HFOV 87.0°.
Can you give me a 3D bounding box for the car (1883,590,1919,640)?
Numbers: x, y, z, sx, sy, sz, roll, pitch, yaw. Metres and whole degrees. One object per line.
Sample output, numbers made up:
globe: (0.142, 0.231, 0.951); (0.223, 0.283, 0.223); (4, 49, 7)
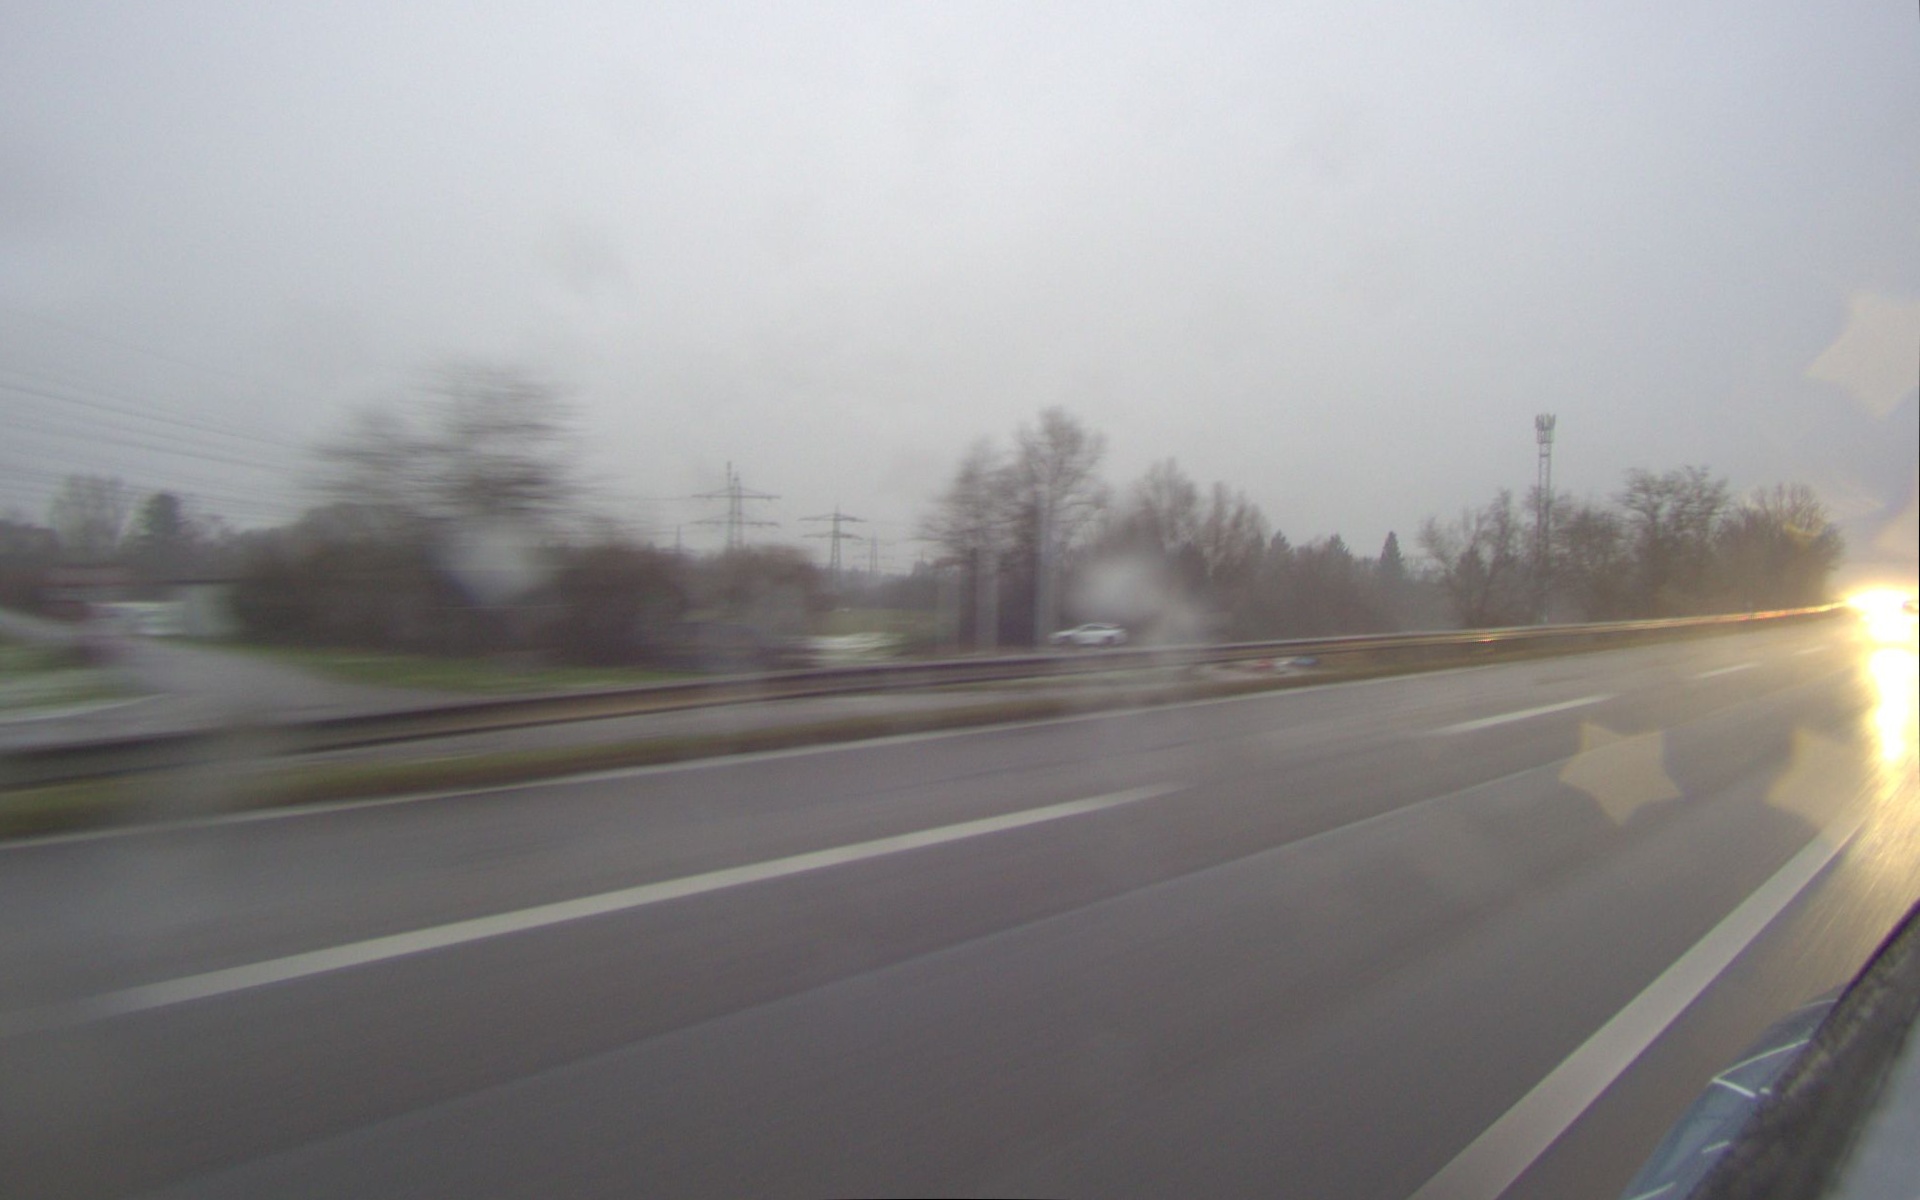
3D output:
car: (30.739, 0.471, 31.959); (3.928, 1.522, 1.801); (1, -1, -40)
